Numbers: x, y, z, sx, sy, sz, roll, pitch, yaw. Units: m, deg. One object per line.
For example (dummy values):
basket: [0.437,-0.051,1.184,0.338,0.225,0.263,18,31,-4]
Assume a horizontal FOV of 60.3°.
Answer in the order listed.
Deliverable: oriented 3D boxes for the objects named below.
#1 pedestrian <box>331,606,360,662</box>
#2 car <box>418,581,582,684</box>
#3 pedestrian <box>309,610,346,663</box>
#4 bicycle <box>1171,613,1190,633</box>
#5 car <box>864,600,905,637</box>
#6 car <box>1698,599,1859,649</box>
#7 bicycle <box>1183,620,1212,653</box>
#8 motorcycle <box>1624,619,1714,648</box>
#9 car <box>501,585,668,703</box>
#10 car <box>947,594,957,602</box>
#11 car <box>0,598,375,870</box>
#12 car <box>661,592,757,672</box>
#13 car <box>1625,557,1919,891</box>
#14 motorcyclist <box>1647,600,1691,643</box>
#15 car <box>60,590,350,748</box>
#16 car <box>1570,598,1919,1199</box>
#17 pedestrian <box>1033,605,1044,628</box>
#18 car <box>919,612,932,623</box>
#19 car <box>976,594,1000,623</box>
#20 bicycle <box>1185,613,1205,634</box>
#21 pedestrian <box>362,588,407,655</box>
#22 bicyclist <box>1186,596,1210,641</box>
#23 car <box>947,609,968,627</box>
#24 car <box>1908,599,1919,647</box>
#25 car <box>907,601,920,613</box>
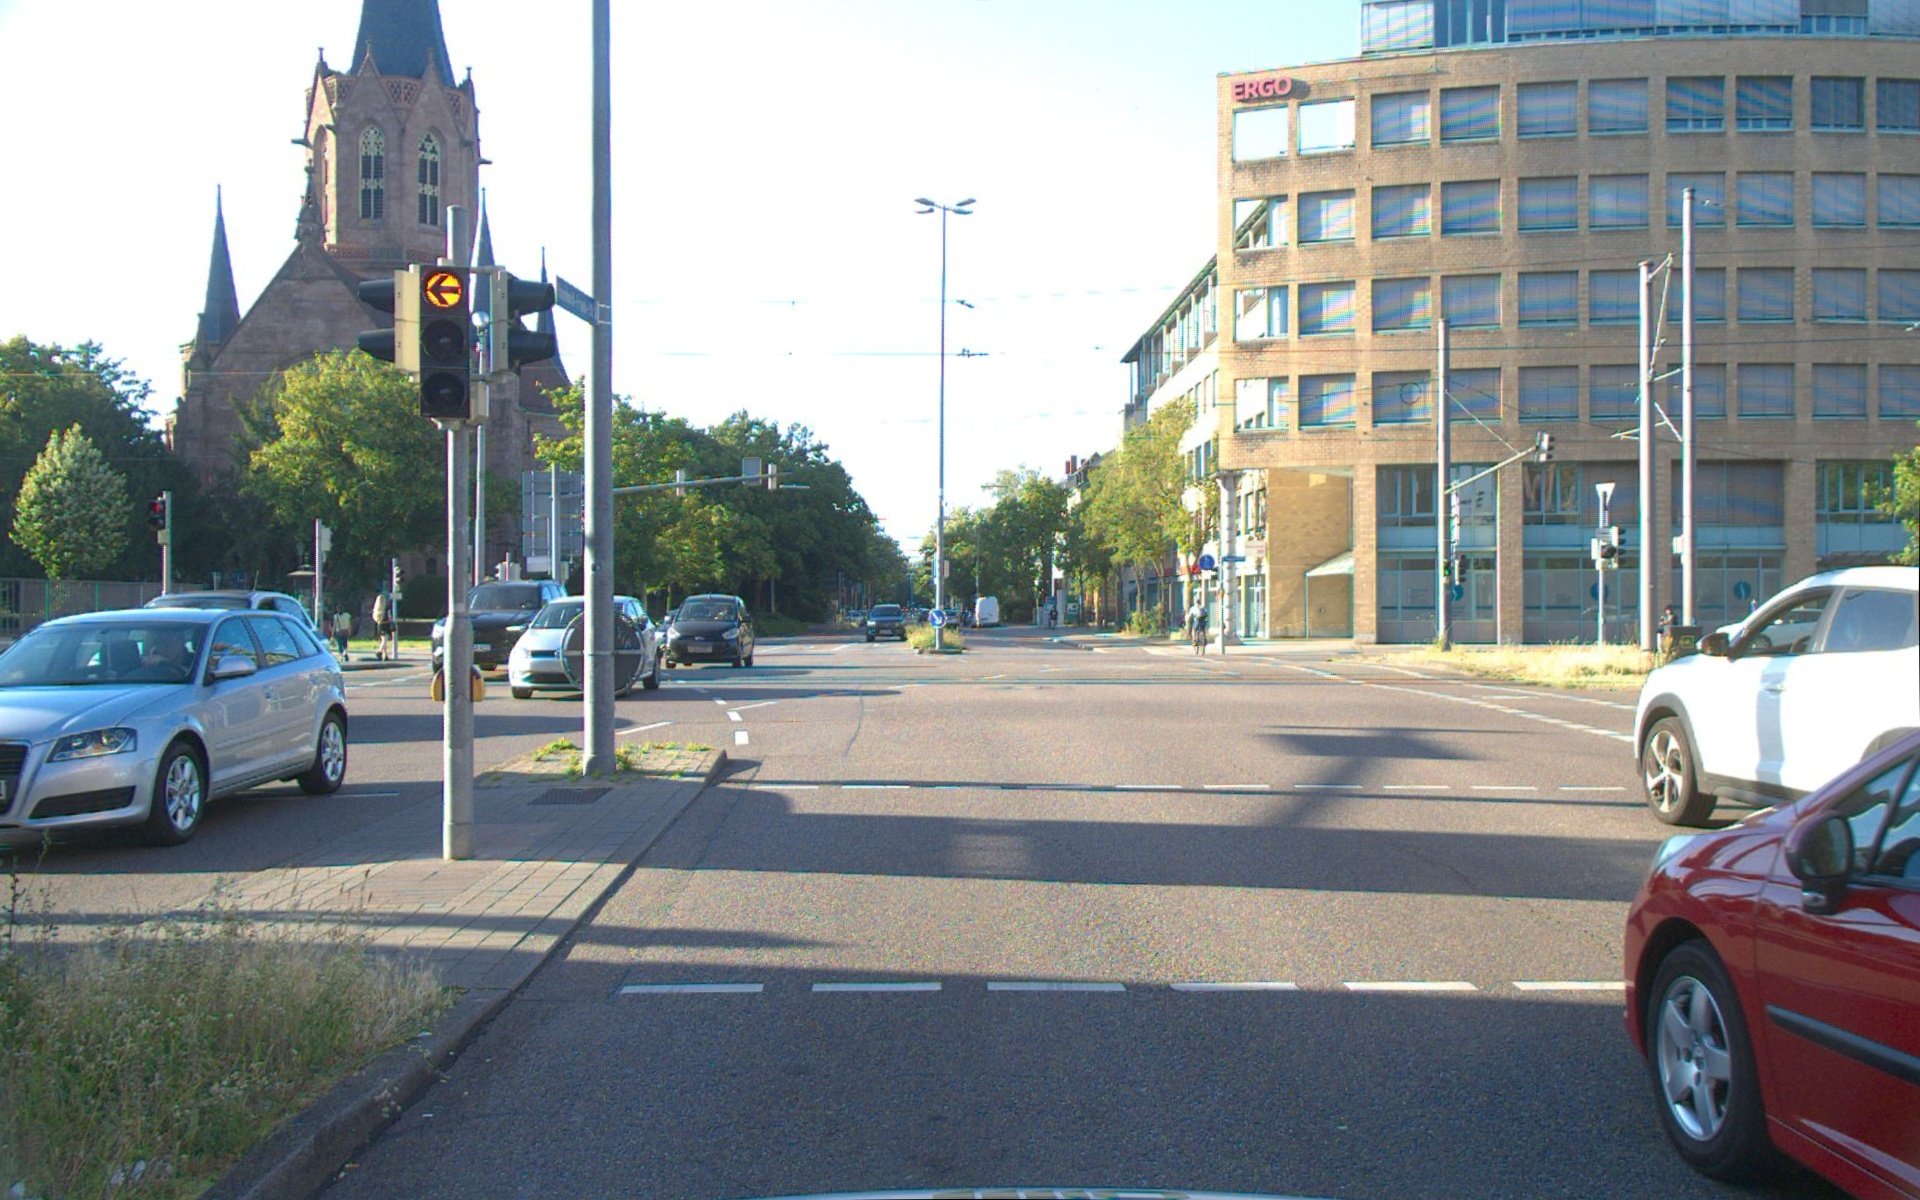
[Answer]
pedestrian: [-19.393,1.073,52.201,0.700,1.726,0.887,1,-1,-28]
car: [-8.552,0.549,31.183,1.779,1.740,4.785,-2,0,-1]
pedestrian: [-20.933,1.192,54.748,0.836,1.726,1.002,1,-1,-39]
bicycle: [11.296,1.149,84.792,0.633,1.012,2.080,0,0,-2]
car: [-3.713,0.924,82.006,1.953,1.754,5.029,-1,-1,-2]
car: [25.662,0.750,51.944,4.080,1.518,1.994,0,-1,-3]
bicycle: [7.380,1.130,51.507,0.580,0.959,1.978,1,0,-1]
motorcycle: [24.407,1.135,56.945,2.663,0.981,1.031,0,-1,-2]
car: [-5.483,0.587,24.575,1.641,1.571,3.805,-2,0,-1]
car: [-1.256,-0.290,255.069,1.562,1.289,3.266,0,0,-1]
car: [-5.505,0.754,11.168,1.674,1.450,4.101,-2,0,-1]
car: [-5.335,0.635,35.484,1.546,1.571,3.476,-2,0,-1]
car: [5.621,0.628,9.436,1.877,1.635,4.268,1,0,-1]
motorcyclist: [24.420,0.736,56.951,1.044,1.460,1.031,0,-1,-2]
car: [-8.451,0.700,18.871,1.641,1.571,3.637,-2,0,-1]
car: [2.798,0.753,3.287,1.636,1.488,3.999,1,0,-1]
pedestrian: [6.170,1.285,130.637,0.830,1.835,0.775,0,0,-1]
car: [-4.230,2.153,200.830,1.562,1.289,3.266,0,0,-1]
car: [2.453,0.752,144.451,1.953,2.483,3.999,1,0,-1]
bicycle: [11.402,1.131,80.291,0.633,1.012,2.080,0,0,-2]
pedestrian: [-15.508,0.575,44.591,0.945,1.770,0.811,0,-1,-3]
bicyclist: [7.380,0.569,51.351,0.580,1.393,0.929,1,-1,-1]
car: [-0.202,1.321,123.091,1.562,1.289,3.266,0,0,-1]
car: [32.422,0.727,52.201,3.970,1.518,1.819,0,-1,-2]
car: [-7.095,1.025,250.808,1.848,1.700,3.999,1,0,-1]
